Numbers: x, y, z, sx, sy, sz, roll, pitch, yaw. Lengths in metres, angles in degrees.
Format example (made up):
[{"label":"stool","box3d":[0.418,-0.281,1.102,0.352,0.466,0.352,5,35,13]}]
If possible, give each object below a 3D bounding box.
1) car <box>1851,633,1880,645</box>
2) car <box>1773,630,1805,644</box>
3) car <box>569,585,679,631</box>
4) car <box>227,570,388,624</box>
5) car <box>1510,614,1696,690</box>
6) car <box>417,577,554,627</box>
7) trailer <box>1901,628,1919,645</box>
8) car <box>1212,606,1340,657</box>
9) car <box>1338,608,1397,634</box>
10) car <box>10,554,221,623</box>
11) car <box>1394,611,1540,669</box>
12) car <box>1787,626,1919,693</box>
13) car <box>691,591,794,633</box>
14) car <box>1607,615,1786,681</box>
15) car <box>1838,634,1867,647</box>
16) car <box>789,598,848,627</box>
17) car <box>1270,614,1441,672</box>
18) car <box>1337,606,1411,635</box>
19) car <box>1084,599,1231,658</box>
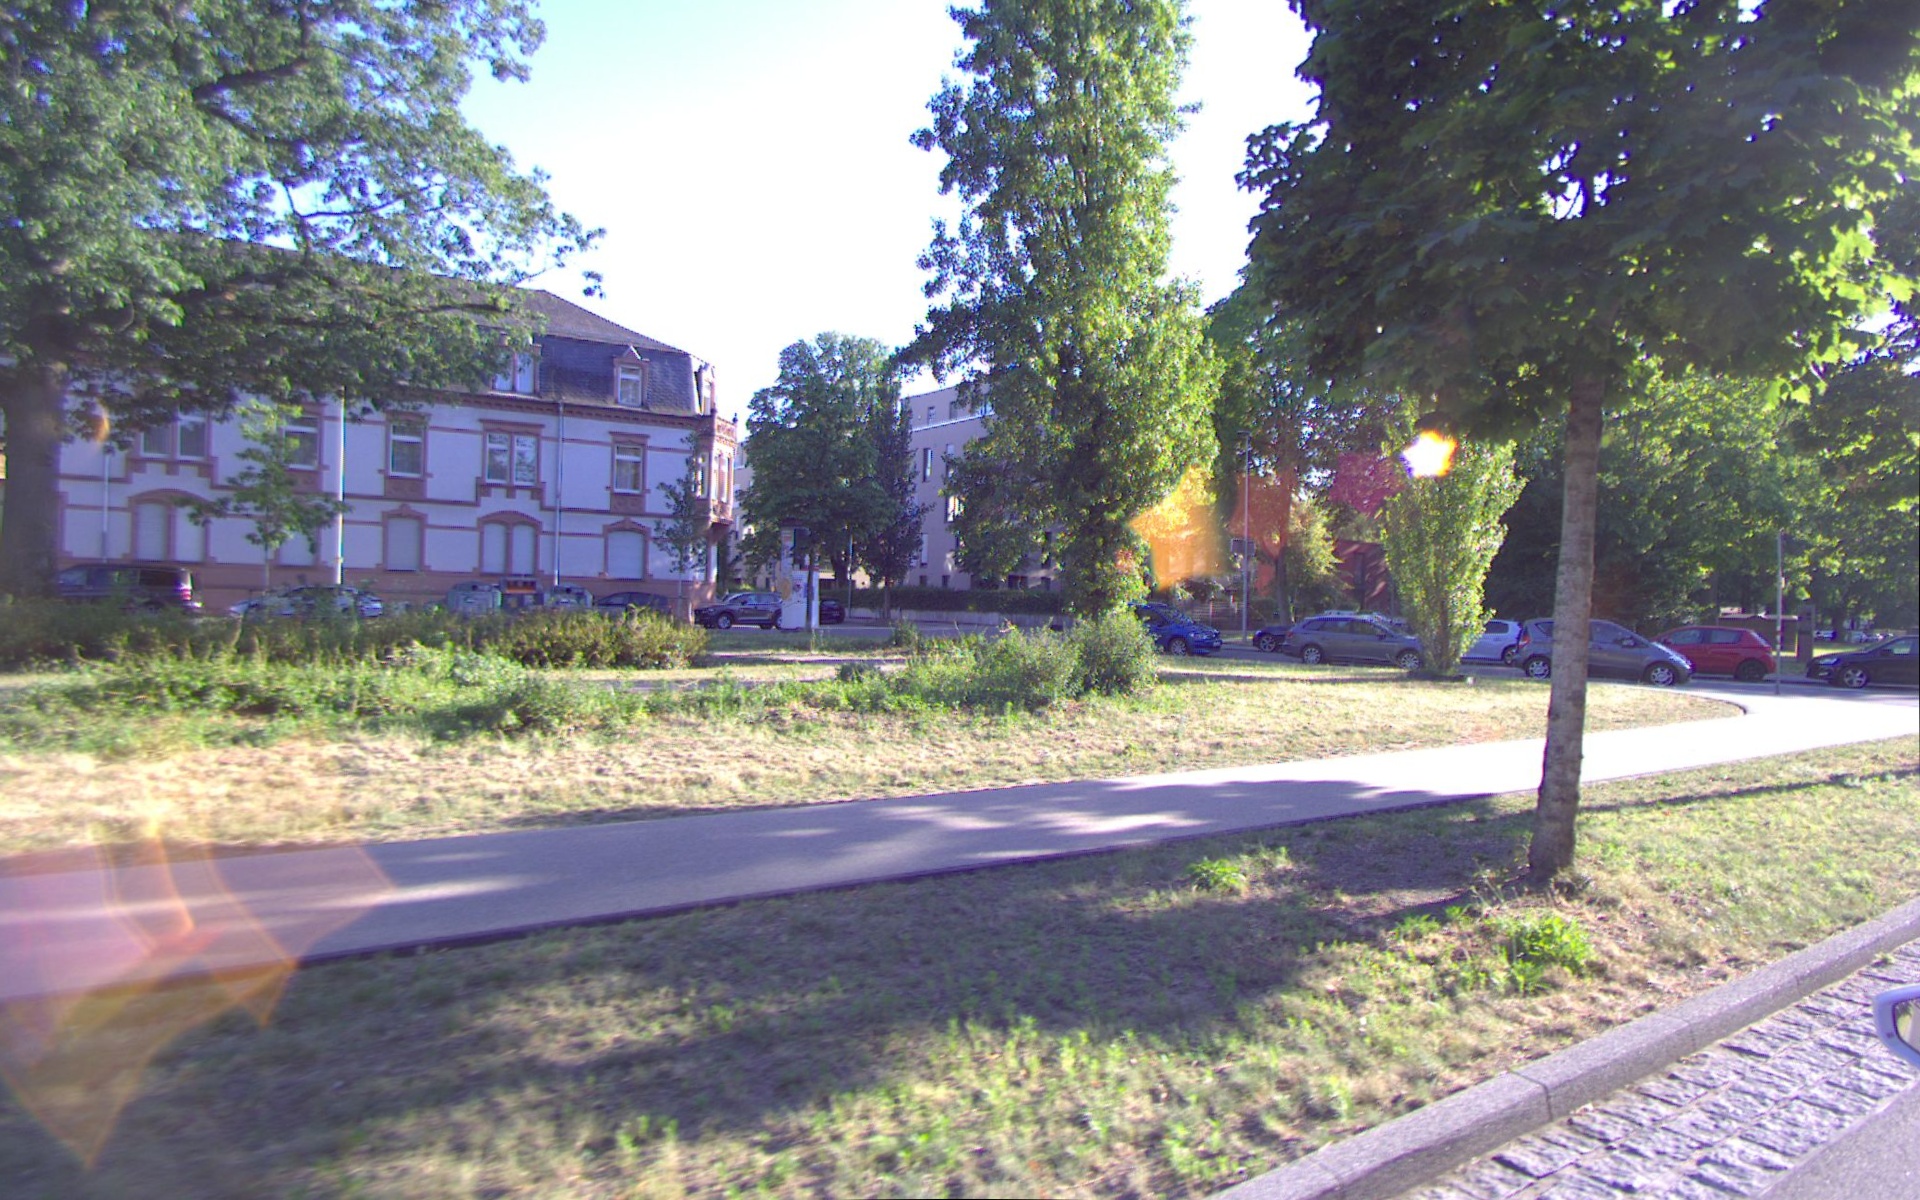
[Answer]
[{"label":"car","box3d":[123.848,5.286,137.368,4.073,1.528,1.981,3,-1,-34]},{"label":"car","box3d":[99.396,4.407,120.420,3.959,1.528,1.981,3,-1,-34]},{"label":"car","box3d":[-13.725,0.331,41.010,3.951,1.594,1.877,4,-1,-28]},{"label":"car","box3d":[-23.054,-0.076,35.717,4.542,1.594,1.877,4,-1,-28]},{"label":"car","box3d":[16.043,1.263,25.242,3.780,1.653,1.836,2,-1,32]},{"label":"car","box3d":[-18.198,0.105,38.584,4.548,1.594,1.875,4,-1,-32]},{"label":"trailer","box3d":[145.057,5.603,151.971,6.978,2.522,2.444,3,-1,-35]},{"label":"car","box3d":[11.269,1.118,35.911,3.934,1.594,1.885,2,-1,36]},{"label":"car","box3d":[27.982,1.416,68.950,3.701,1.639,1.980,2,0,-35]},{"label":"car","box3d":[-27.810,-0.337,33.331,4.909,1.918,1.879,4,-1,-24]},{"label":"car","box3d":[16.300,1.274,32.343,3.934,1.594,1.885,2,-1,35]},{"label":"car","box3d":[24.536,1.594,26.482,3.929,1.594,1.887,2,-1,31]},{"label":"car","box3d":[-9.499,0.514,43.971,3.960,1.594,1.873,4,-2,-34]},{"label":"car","box3d":[21.066,1.360,28.963,3.929,1.594,1.887,2,-1,31]},{"label":"car","box3d":[116.962,5.288,131.626,4.073,1.528,1.981,3,-1,-34]},{"label":"car","box3d":[-8.747,0.781,61.804,1.874,1.594,3.958,4,-2,-36]},{"label":"car","box3d":[11.186,1.190,28.517,4.204,1.419,1.835,1,-1,34]},{"label":"car","box3d":[33.991,1.695,82.532,2.654,2.142,4.916,2,1,-37]},{"label":"car","box3d":[6.279,0.882,32.155,4.207,1.665,1.834,1,-1,36]}]
